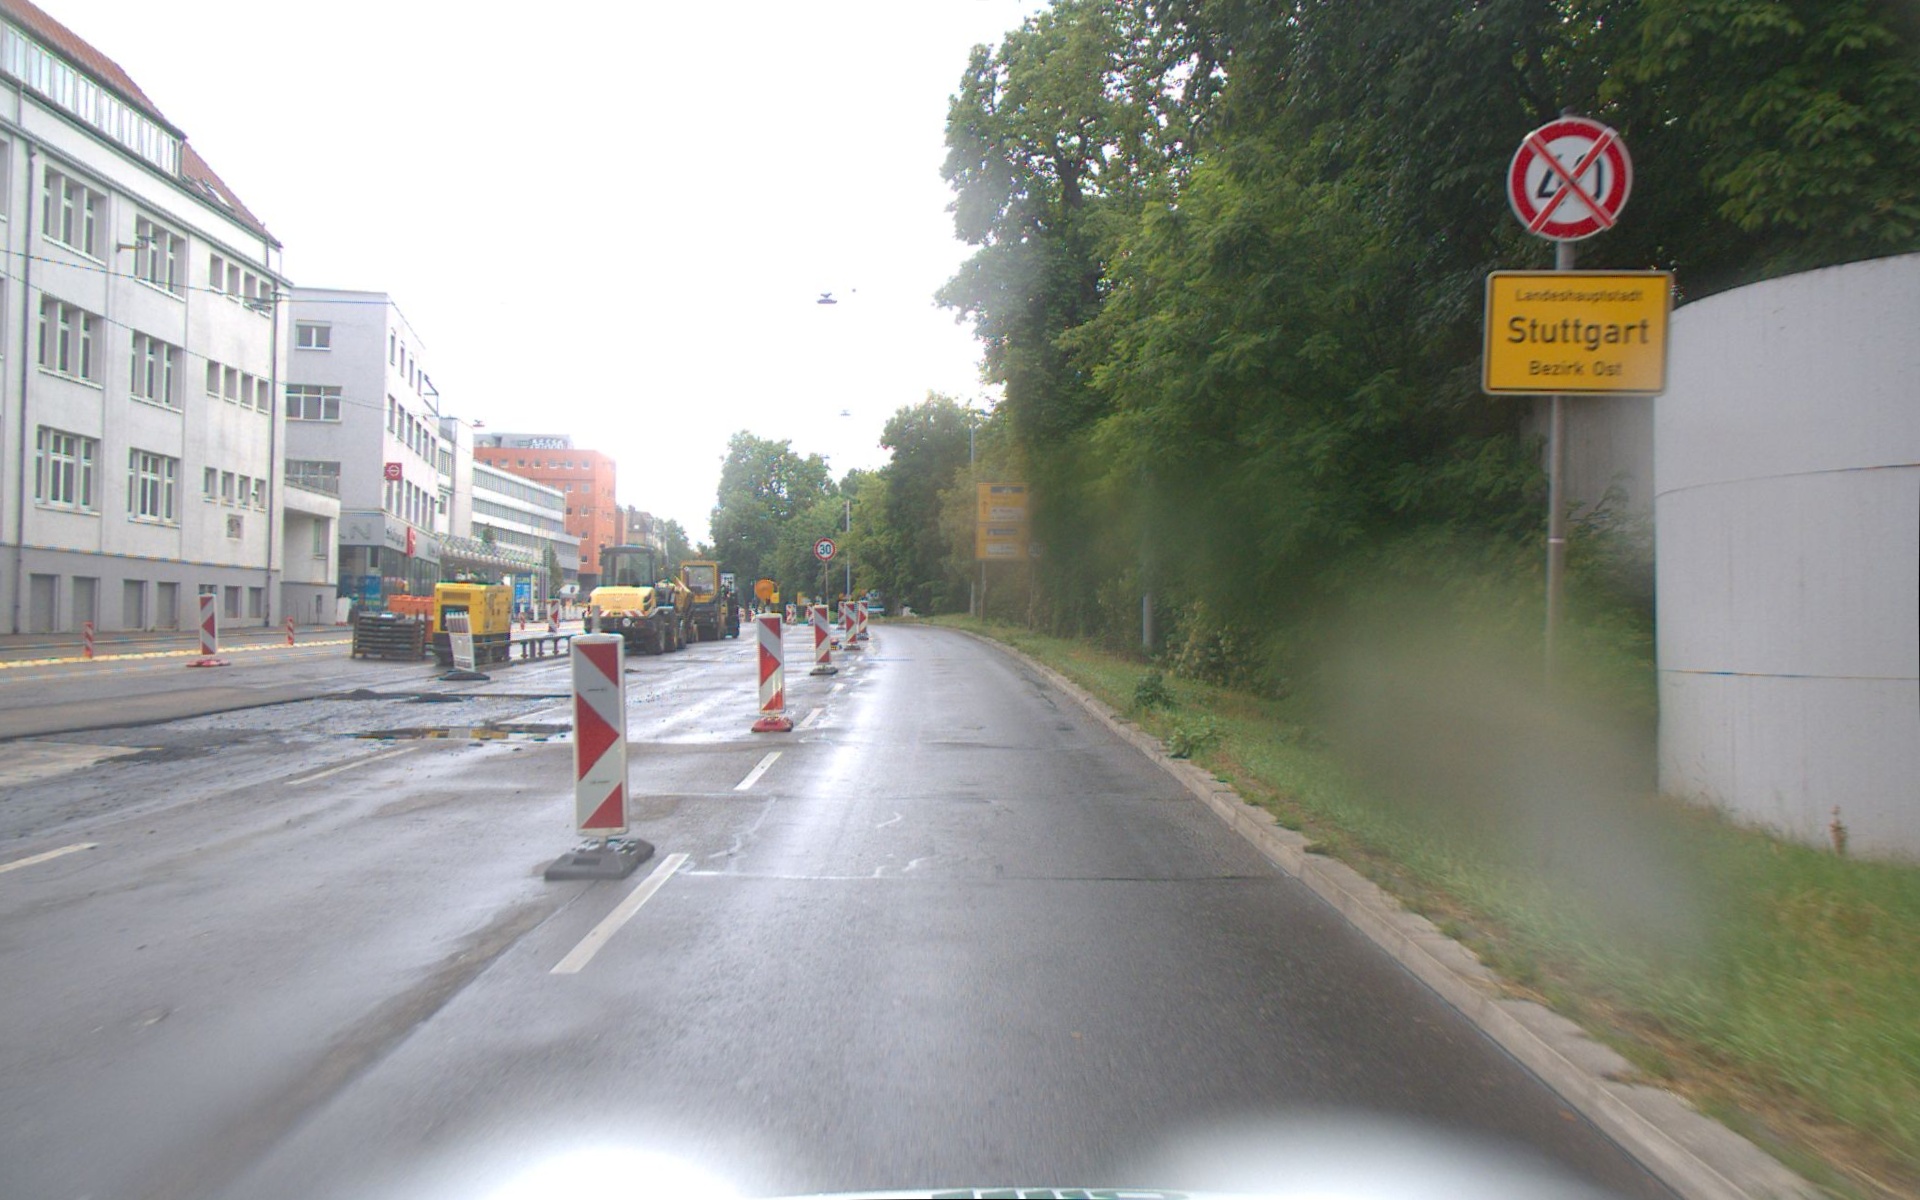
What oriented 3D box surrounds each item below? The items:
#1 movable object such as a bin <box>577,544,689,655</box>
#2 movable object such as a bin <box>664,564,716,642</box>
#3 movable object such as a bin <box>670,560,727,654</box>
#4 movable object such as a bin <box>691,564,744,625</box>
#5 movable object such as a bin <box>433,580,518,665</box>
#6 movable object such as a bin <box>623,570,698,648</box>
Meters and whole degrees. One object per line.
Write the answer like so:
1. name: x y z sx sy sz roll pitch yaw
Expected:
1. movable object such as a bin: -8.316 -0.010 42.528 1.863 2.655 5.381 0 0 -1
2. movable object such as a bin: -8.677 0.102 53.201 1.383 2.443 2.404 -1 0 -4
3. movable object such as a bin: -8.928 0.237 56.723 1.436 3.061 3.722 -1 0 -2
4. movable object such as a bin: -9.032 -0.197 61.743 1.682 2.187 3.346 -1 0 -4
5. movable object such as a bin: -9.919 0.460 33.972 1.061 1.673 2.438 1 0 -2
6. movable object such as a bin: -8.592 0.260 47.765 1.335 2.127 5.029 0 0 -1
